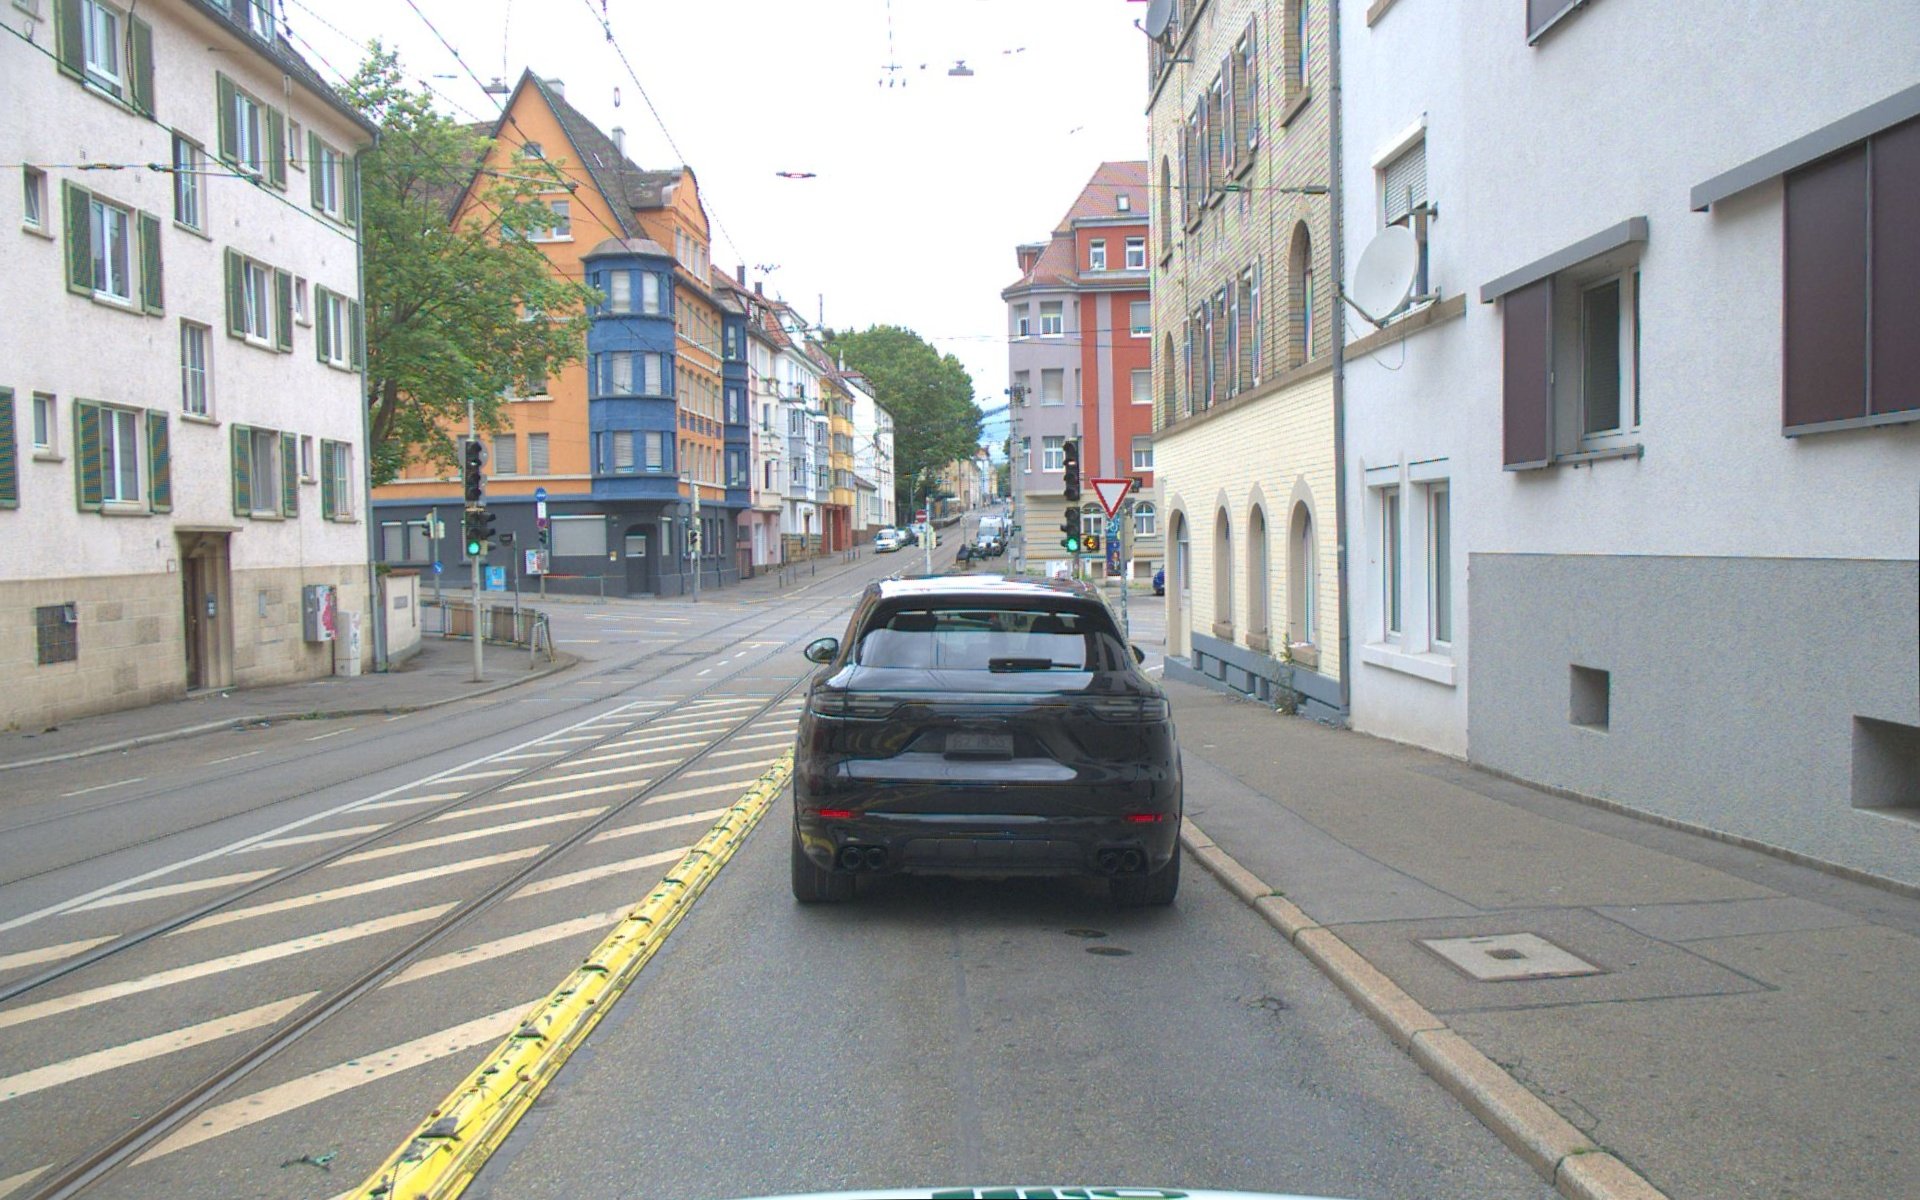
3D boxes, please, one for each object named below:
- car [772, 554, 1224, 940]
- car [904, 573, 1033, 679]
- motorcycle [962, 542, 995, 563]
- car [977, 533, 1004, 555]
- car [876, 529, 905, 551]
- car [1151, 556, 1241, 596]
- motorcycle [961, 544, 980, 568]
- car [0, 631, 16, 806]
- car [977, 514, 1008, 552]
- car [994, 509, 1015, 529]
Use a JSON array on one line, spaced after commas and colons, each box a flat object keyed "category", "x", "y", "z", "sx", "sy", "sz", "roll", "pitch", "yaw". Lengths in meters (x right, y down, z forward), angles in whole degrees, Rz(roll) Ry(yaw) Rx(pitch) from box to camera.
[{"category": "car", "x": 0.236, "y": 0.610, "z": 9.596, "sx": 1.982, "sy": 1.670, "sz": 4.357, "roll": 2, "pitch": 1, "yaw": 2}, {"category": "car", "x": 0.236, "y": 0.475, "z": 32.668, "sx": 1.825, "sy": 1.916, "sz": 4.289, "roll": -1, "pitch": 0, "yaw": 10}, {"category": "motorcycle", "x": 1.230, "y": -3.185, "z": 111.605, "sx": 2.135, "sy": 1.349, "sz": 0.699, "roll": 1, "pitch": 2, "yaw": -7}, {"category": "car", "x": 2.295, "y": -4.269, "z": 124.845, "sx": 1.801, "sy": 1.596, "sz": 3.822, "roll": 1, "pitch": 3, "yaw": 4}, {"category": "car", "x": -5.714, "y": -4.983, "z": 136.826, "sx": 1.952, "sy": 1.721, "sz": 4.003, "roll": 1, "pitch": 3, "yaw": 4}, {"category": "car", "x": 10.725, "y": -1.095, "z": 75.114, "sx": 4.107, "sy": 1.561, "sz": 1.889, "roll": -4, "pitch": 5, "yaw": -42}, {"category": "motorcycle", "x": 0.640, "y": -2.692, "z": 101.108, "sx": 0.843, "sy": 1.349, "sz": 2.182, "roll": -6, "pitch": 3, "yaw": -5}, {"category": "car", "x": -8.915, "y": 1.030, "z": 11.935, "sx": 1.749, "sy": 1.464, "sz": 4.260, "roll": -3, "pitch": 0, "yaw": -1}, {"category": "car", "x": 2.578, "y": -5.301, "z": 130.330, "sx": 2.220, "sy": 2.940, "sz": 4.773, "roll": 1, "pitch": 3, "yaw": 4}, {"category": "car", "x": 5.221, "y": -9.393, "z": 191.590, "sx": 2.220, "sy": 2.221, "sz": 4.773, "roll": 1, "pitch": 3, "yaw": 4}]
